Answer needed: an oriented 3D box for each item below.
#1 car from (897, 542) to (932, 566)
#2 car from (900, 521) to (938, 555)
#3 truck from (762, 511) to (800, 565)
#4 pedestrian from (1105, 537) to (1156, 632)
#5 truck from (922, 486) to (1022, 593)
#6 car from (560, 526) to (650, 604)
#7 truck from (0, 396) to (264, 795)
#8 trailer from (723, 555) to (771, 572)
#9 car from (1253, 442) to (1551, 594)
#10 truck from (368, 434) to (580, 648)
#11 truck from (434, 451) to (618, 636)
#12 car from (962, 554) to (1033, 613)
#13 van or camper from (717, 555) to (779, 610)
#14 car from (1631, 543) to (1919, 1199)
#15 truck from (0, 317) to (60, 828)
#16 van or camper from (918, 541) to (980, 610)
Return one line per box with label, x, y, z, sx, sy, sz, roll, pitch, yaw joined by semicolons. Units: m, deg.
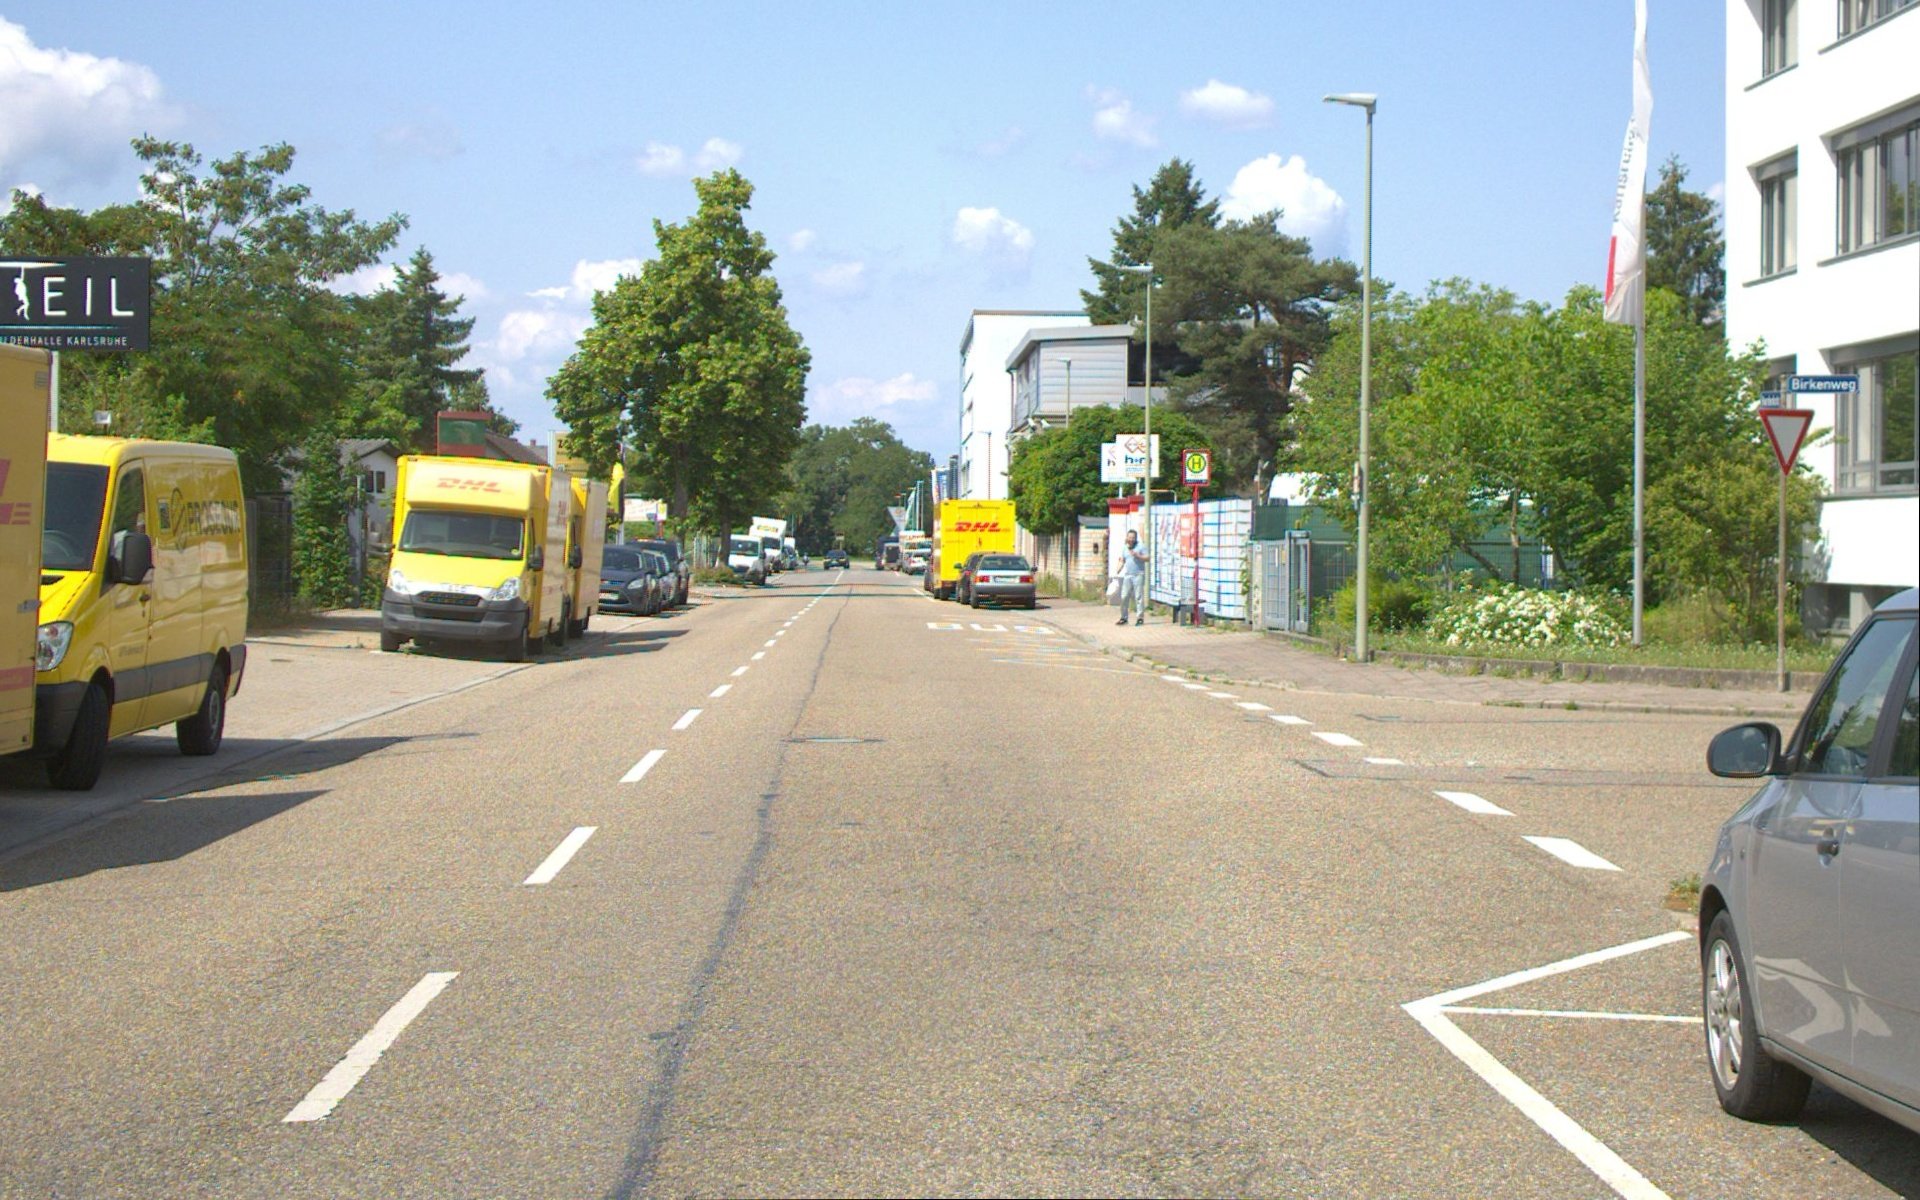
car;-2.552;-2.614;193.132;1.928;1.306;4.000;0;1;-2
car;-2.487;-3.715;206.680;2.216;2.007;5.485;0;1;-1
truck;-10.645;-3.716;204.724;2.029;3.143;6.500;0;1;-1
pedestrian;3.145;-0.293;63.414;0.715;1.691;0.522;-5;1;-6
truck;0.287;-1.764;100.588;2.474;2.930;7.189;2;1;-3
car;-8.000;-0.804;77.679;1.724;1.598;4.415;4;1;-3
truck;-6.429;-0.089;23.793;1.993;2.405;6.065;1;1;0
trailer;-11.786;-2.019;190.786;2.417;0.811;5.537;2;1;-1
car;7.915;-1.452;61.761;4.905;2.643;2.074;0;1;-9
truck;-7.006;-0.828;50.358;2.269;2.845;7.175;2;0;-2
truck;-7.330;-0.967;58.800;2.316;2.853;7.105;3;1;-2
car;0.936;-0.437;88.813;1.651;1.382;4.423;2;1;-1
van or camper;-9.817;-0.852;159.802;2.173;2.405;7.697;1;1;2
car;2.837;0.679;8.294;1.610;1.575;4.000;2;1;0
truck;-6.454;-0.136;16.667;2.220;2.847;7.069;2;1;0
van or camper;-0.415;-0.883;120.805;1.993;2.283;5.448;2;1;-2
